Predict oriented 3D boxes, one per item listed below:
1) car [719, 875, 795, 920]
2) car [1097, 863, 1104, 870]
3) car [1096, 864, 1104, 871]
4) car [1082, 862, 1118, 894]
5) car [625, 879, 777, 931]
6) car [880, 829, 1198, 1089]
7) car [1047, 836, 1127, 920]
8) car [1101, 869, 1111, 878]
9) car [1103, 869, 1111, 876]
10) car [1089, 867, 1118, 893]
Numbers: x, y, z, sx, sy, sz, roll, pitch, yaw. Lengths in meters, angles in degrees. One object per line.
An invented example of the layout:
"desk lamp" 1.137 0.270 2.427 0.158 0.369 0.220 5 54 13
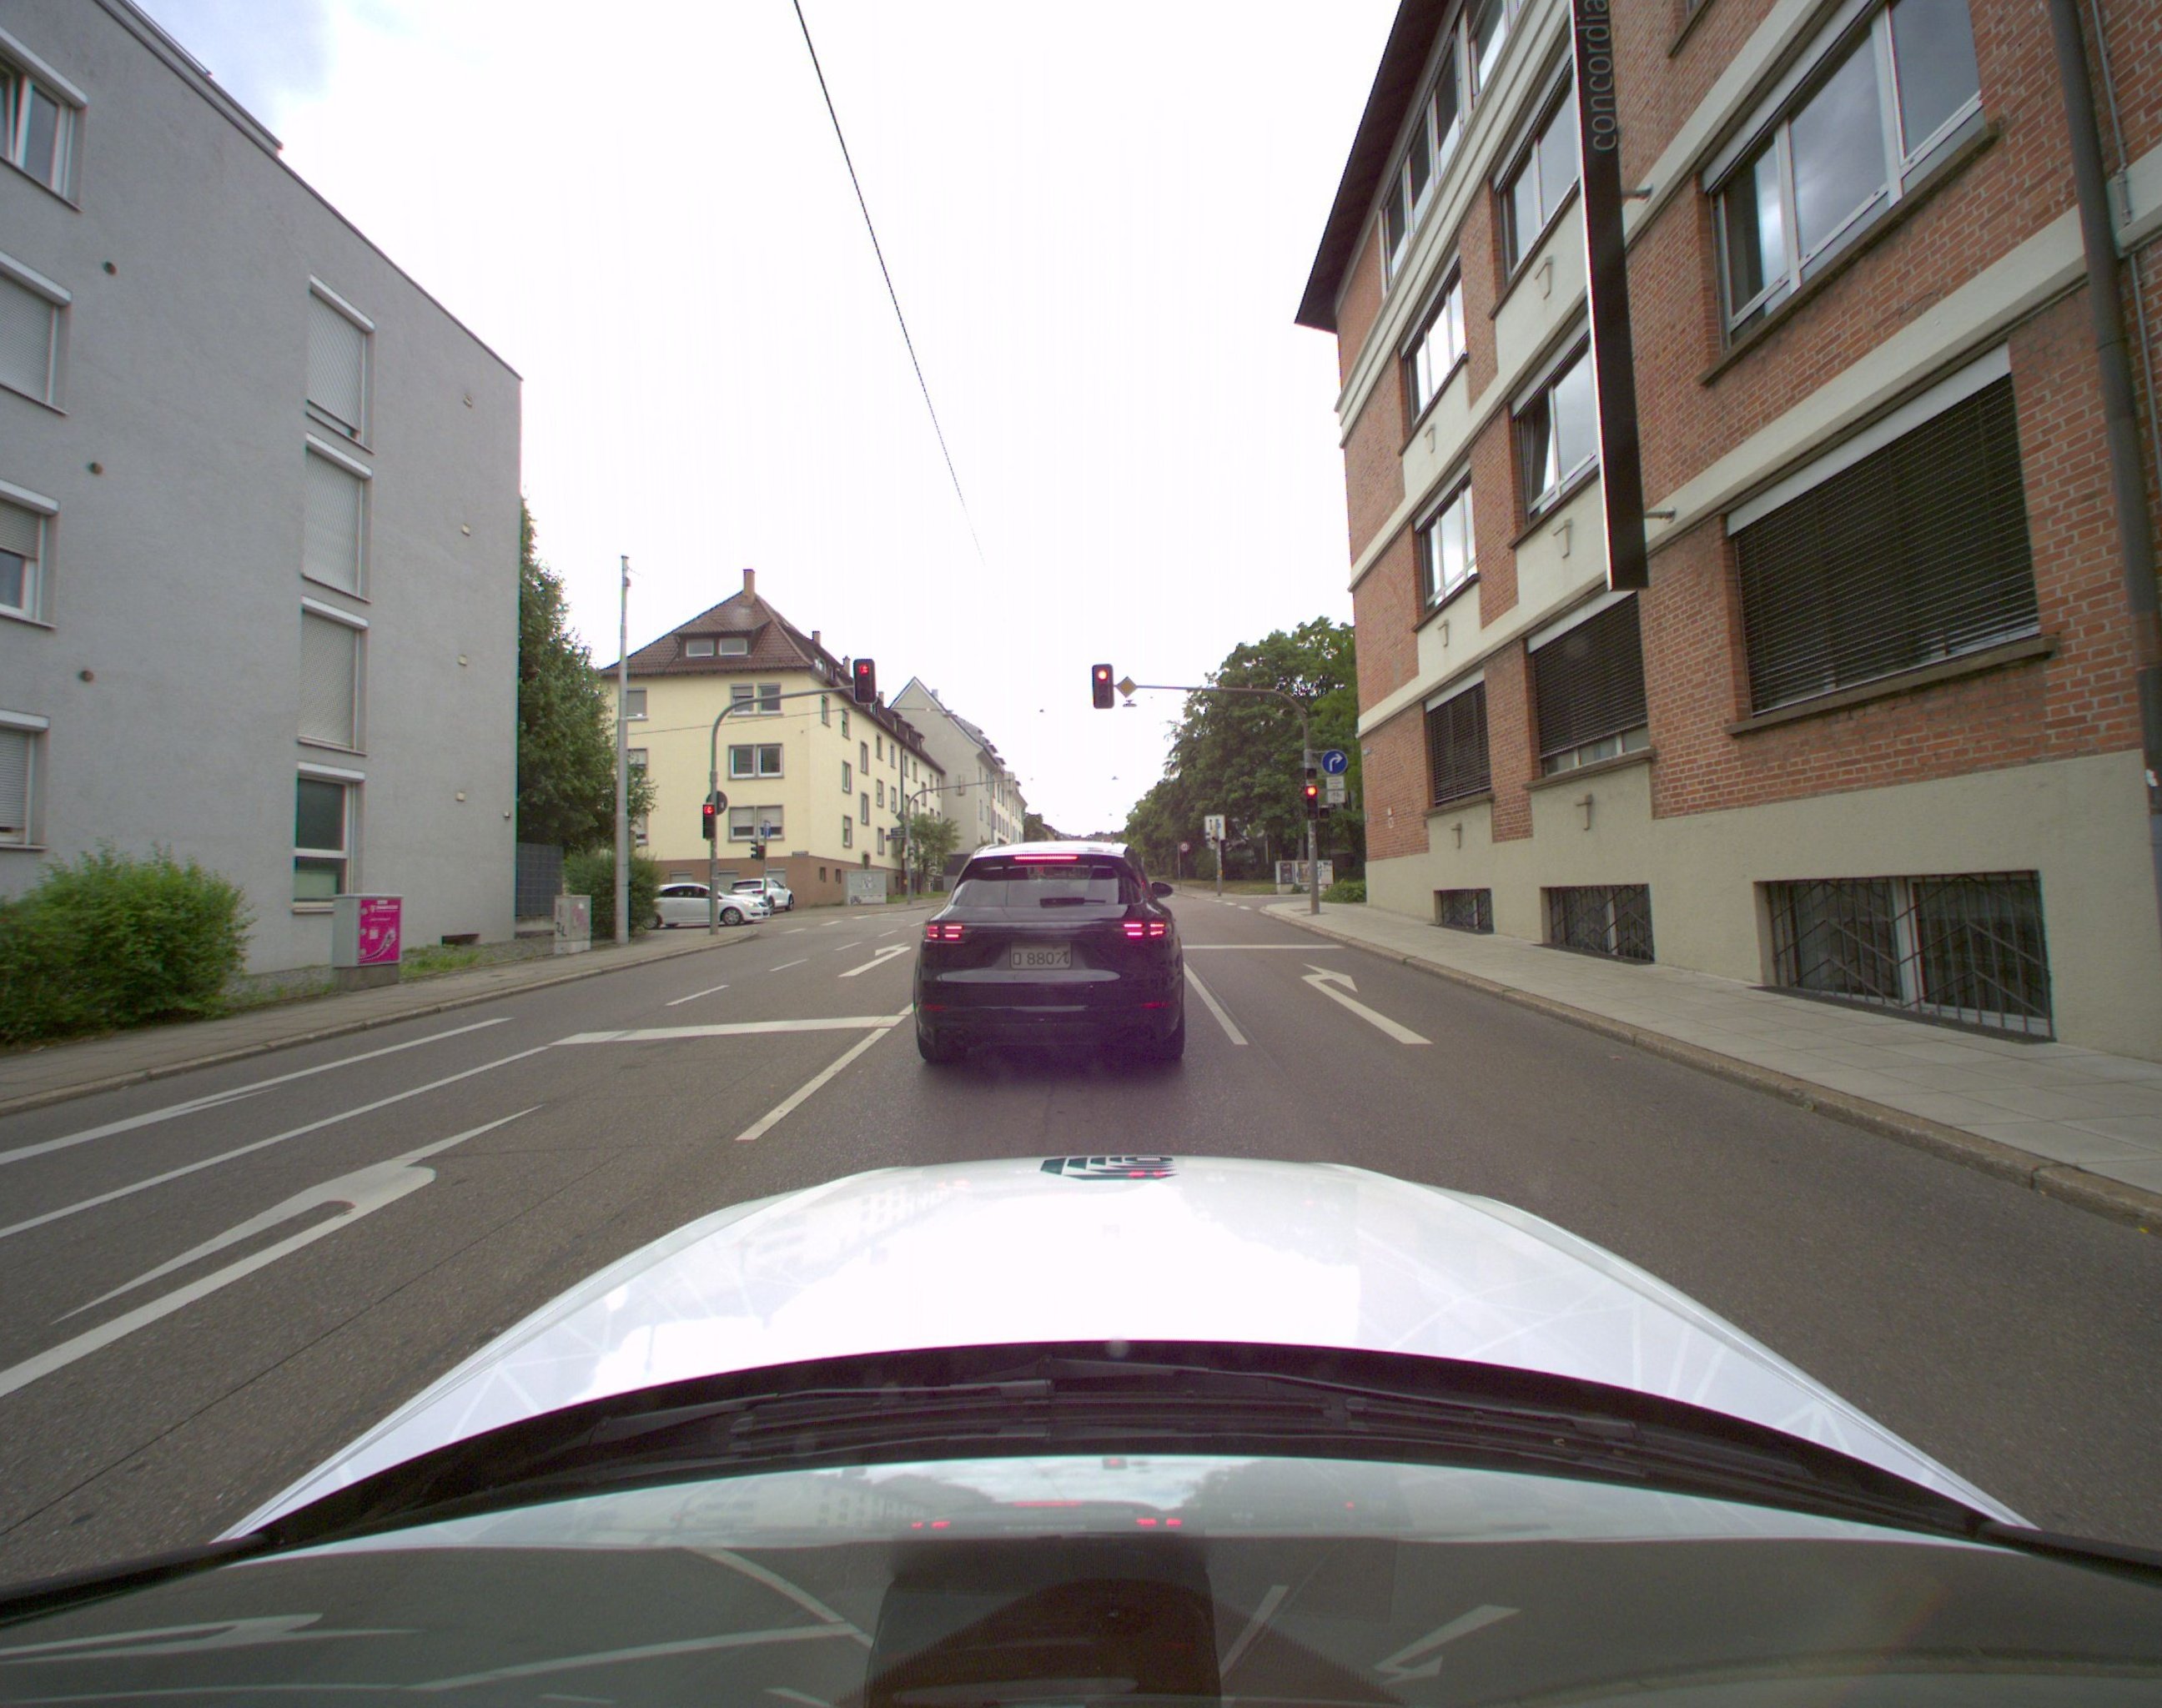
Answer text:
"car" -13.531 1.767 34.186 1.686 1.555 3.763 -4 0 -2
"car" 5.103 3.274 210.384 1.820 1.605 4.137 0 0 2
"car" 4.684 3.298 203.063 1.820 1.605 4.137 0 0 2
"car" 1.056 1.266 43.939 1.820 1.605 4.137 0 0 2
"car" -12.205 1.631 26.342 4.046 1.392 1.694 -2 -1 -3
"car" -0.194 0.678 7.380 2.040 1.666 4.269 0 0 2
"car" 0.227 0.594 22.031 1.957 2.042 4.137 0 0 2
"car" 5.051 3.899 163.373 1.820 1.605 4.137 0 0 2
"car" 5.890 4.132 182.540 1.820 1.605 4.137 0 0 2
"car" 1.471 1.645 52.647 1.820 1.605 3.860 0 0 2
